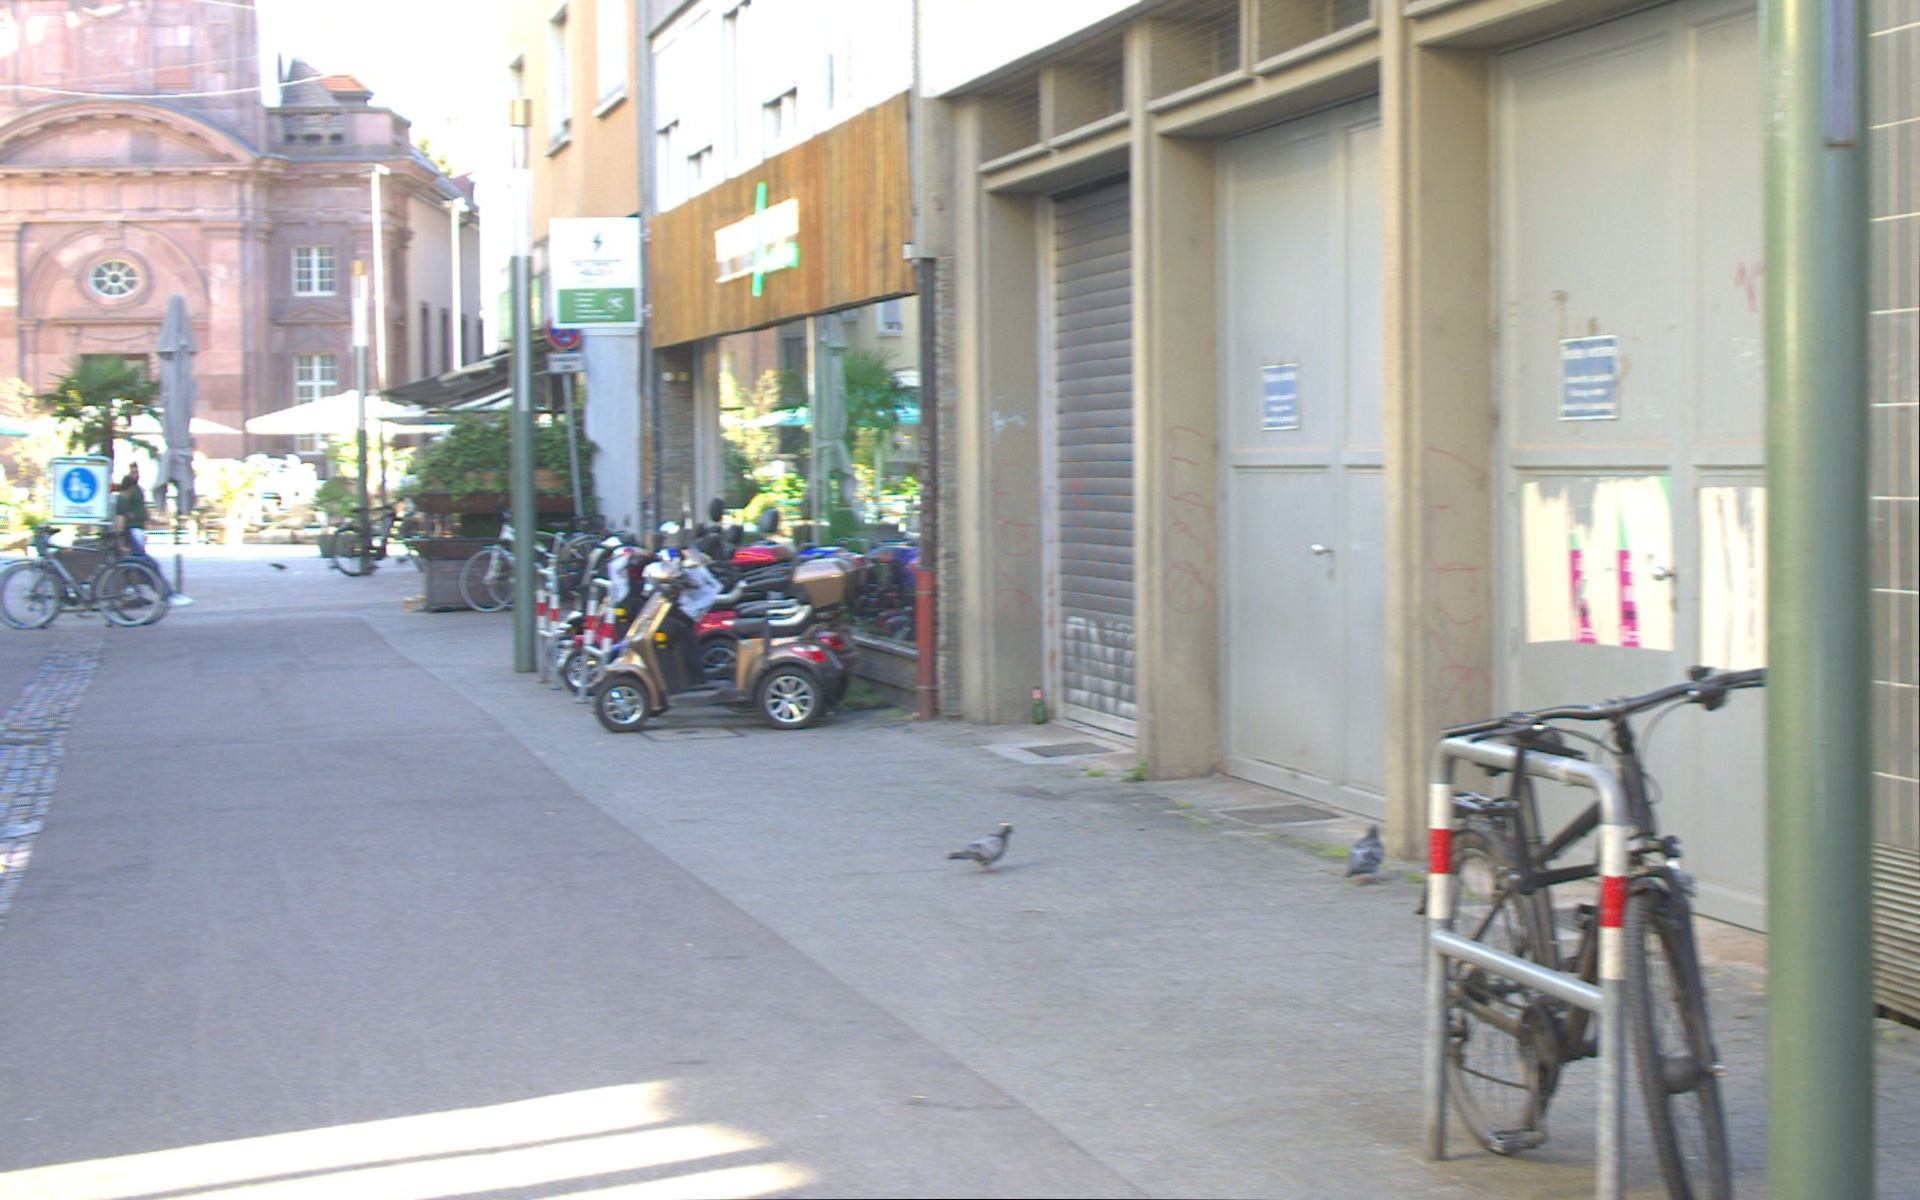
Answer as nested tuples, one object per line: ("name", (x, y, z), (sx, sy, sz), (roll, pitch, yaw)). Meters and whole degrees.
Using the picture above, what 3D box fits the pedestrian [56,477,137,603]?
("pedestrian", (-10.222, -0.713, 40.716), (0.883, 1.459, 0.731), (-1, 2, -12))

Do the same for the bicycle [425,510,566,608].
("bicycle", (-4.961, -0.443, 36.754), (1.463, 1.001, 0.573), (-1, 2, -6))

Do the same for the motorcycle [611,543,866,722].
("motorcycle", (-1.379, 0.201, 21.509), (1.517, 1.072, 0.412), (-1, 2, 5))

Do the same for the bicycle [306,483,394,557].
("bicycle", (-11.040, -1.455, 62.236), (1.587, 1.303, 0.365), (-3, 3, -42))

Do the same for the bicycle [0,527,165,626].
("bicycle", (-9.357, -0.252, 36.313), (1.823, 1.001, 0.381), (-2, 2, -16))

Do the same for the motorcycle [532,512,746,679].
("motorcycle", (-2.346, -0.037, 25.178), (1.484, 1.177, 0.412), (-1, 2, 2))

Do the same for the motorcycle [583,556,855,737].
("motorcycle", (-1.444, 0.279, 20.691), (1.564, 1.038, 0.372), (-1, 2, 5))

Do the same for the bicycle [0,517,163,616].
("bicycle", (-9.469, -0.361, 36.702), (1.823, 1.001, 0.381), (-2, 2, -16))

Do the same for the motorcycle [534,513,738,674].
("motorcycle", (-2.469, -0.054, 26.261), (1.484, 1.177, 0.412), (-1, 2, 2))

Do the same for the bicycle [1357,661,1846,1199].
("bicycle", (1.241, 0.724, 6.957), (0.446, 1.136, 1.710), (-1, 1, -8))

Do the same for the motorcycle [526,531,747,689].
("motorcycle", (-2.292, 0.071, 24.414), (1.484, 1.072, 0.412), (-1, 2, 5))

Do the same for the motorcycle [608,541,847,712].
("motorcycle", (-1.514, 0.170, 22.500), (1.484, 1.072, 0.412), (-1, 2, 5))

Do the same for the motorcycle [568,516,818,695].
("motorcycle", (-1.830, 0.033, 23.639), (1.625, 1.171, 0.480), (-1, 2, 5))
